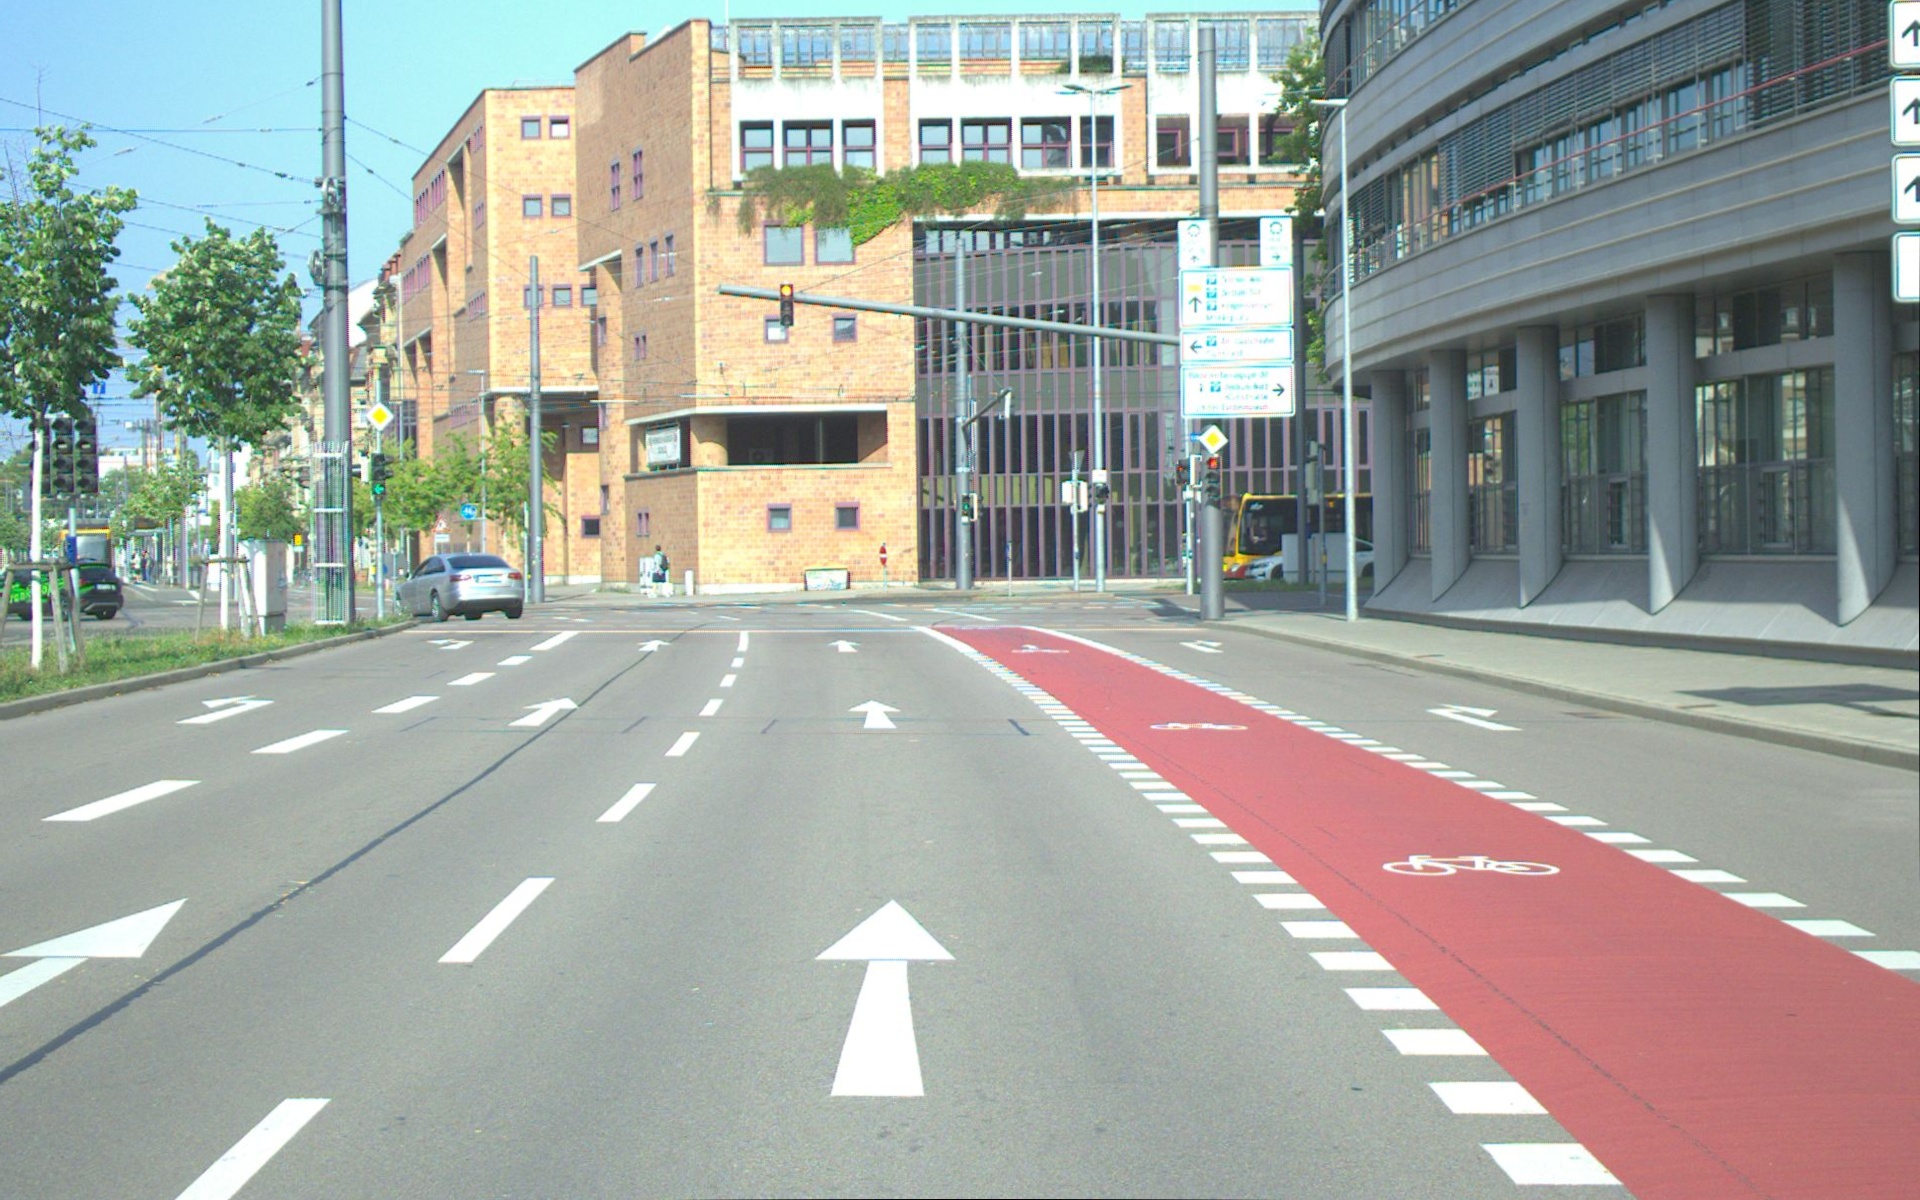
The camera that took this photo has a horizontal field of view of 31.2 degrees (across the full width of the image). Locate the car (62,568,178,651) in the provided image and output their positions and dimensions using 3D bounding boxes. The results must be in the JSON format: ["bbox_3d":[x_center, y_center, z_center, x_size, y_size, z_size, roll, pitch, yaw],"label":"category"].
[{"bbox_3d":[-20.991,0.252,86.033,1.993,2.007,4.243,-1,-1,-2],"label":"car"}]

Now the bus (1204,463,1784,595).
[{"bbox_3d":[16.560,-2.194,107.138,17.607,3.797,2.865,-1,-1,-3],"label":"bus"}]

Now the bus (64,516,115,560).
[{"bbox_3d":[-40.725,-2.907,160.785,1.993,2.007,4.001,-1,1,-19],"label":"bus"}]

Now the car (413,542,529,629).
[{"bbox_3d":[-10.398,-0.288,72.920,1.704,1.749,3.891,-1,-1,-19],"label":"car"}]

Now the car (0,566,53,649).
[{"bbox_3d":[-24.583,0.220,85.325,3.995,2.007,1.996,-1,-1,38],"label":"car"}]

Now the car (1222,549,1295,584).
[{"bbox_3d":[8.940,-1.006,103.099,1.951,0.955,1.094,1,-2,-9],"label":"car"}]

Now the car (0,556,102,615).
[{"bbox_3d":[-25.192,-0.377,93.501,3.443,1.536,1.732,-1,-1,34],"label":"car"}]
